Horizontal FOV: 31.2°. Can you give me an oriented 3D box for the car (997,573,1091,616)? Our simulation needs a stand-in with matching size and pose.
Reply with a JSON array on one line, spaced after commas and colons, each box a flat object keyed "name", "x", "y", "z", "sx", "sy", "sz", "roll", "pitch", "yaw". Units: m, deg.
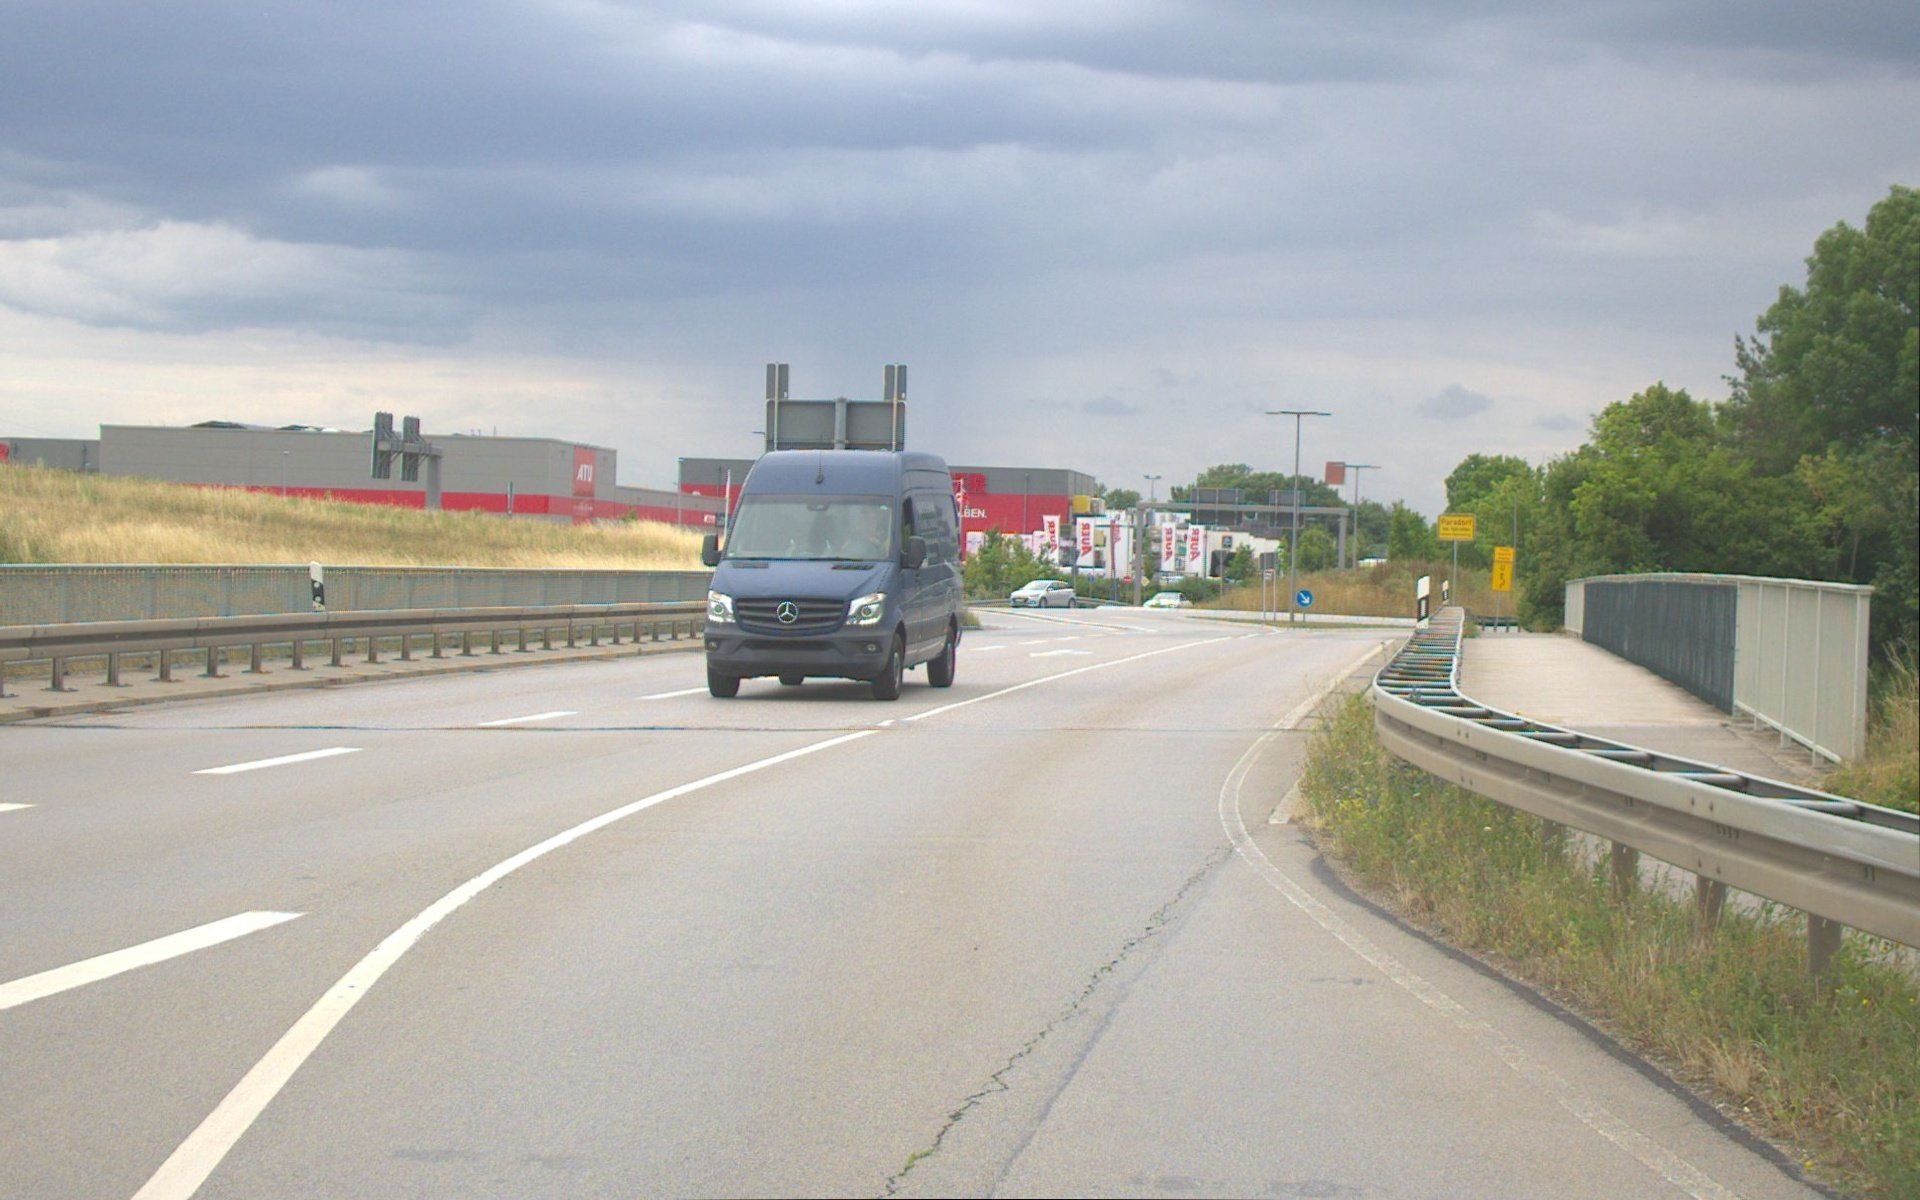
[{"name": "car", "x": 4.039, "y": -0.282, "z": 165.686, "sx": 3.994, "sy": 1.870, "sz": 1.996, "roll": 3, "pitch": 1, "yaw": 31}]

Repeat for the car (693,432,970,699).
[{"name": "car", "x": -1.263, "y": -0.383, "z": 36.951, "sx": 1.994, "sy": 2.583, "sz": 6.002, "roll": 1, "pitch": 1, "yaw": 7}]
